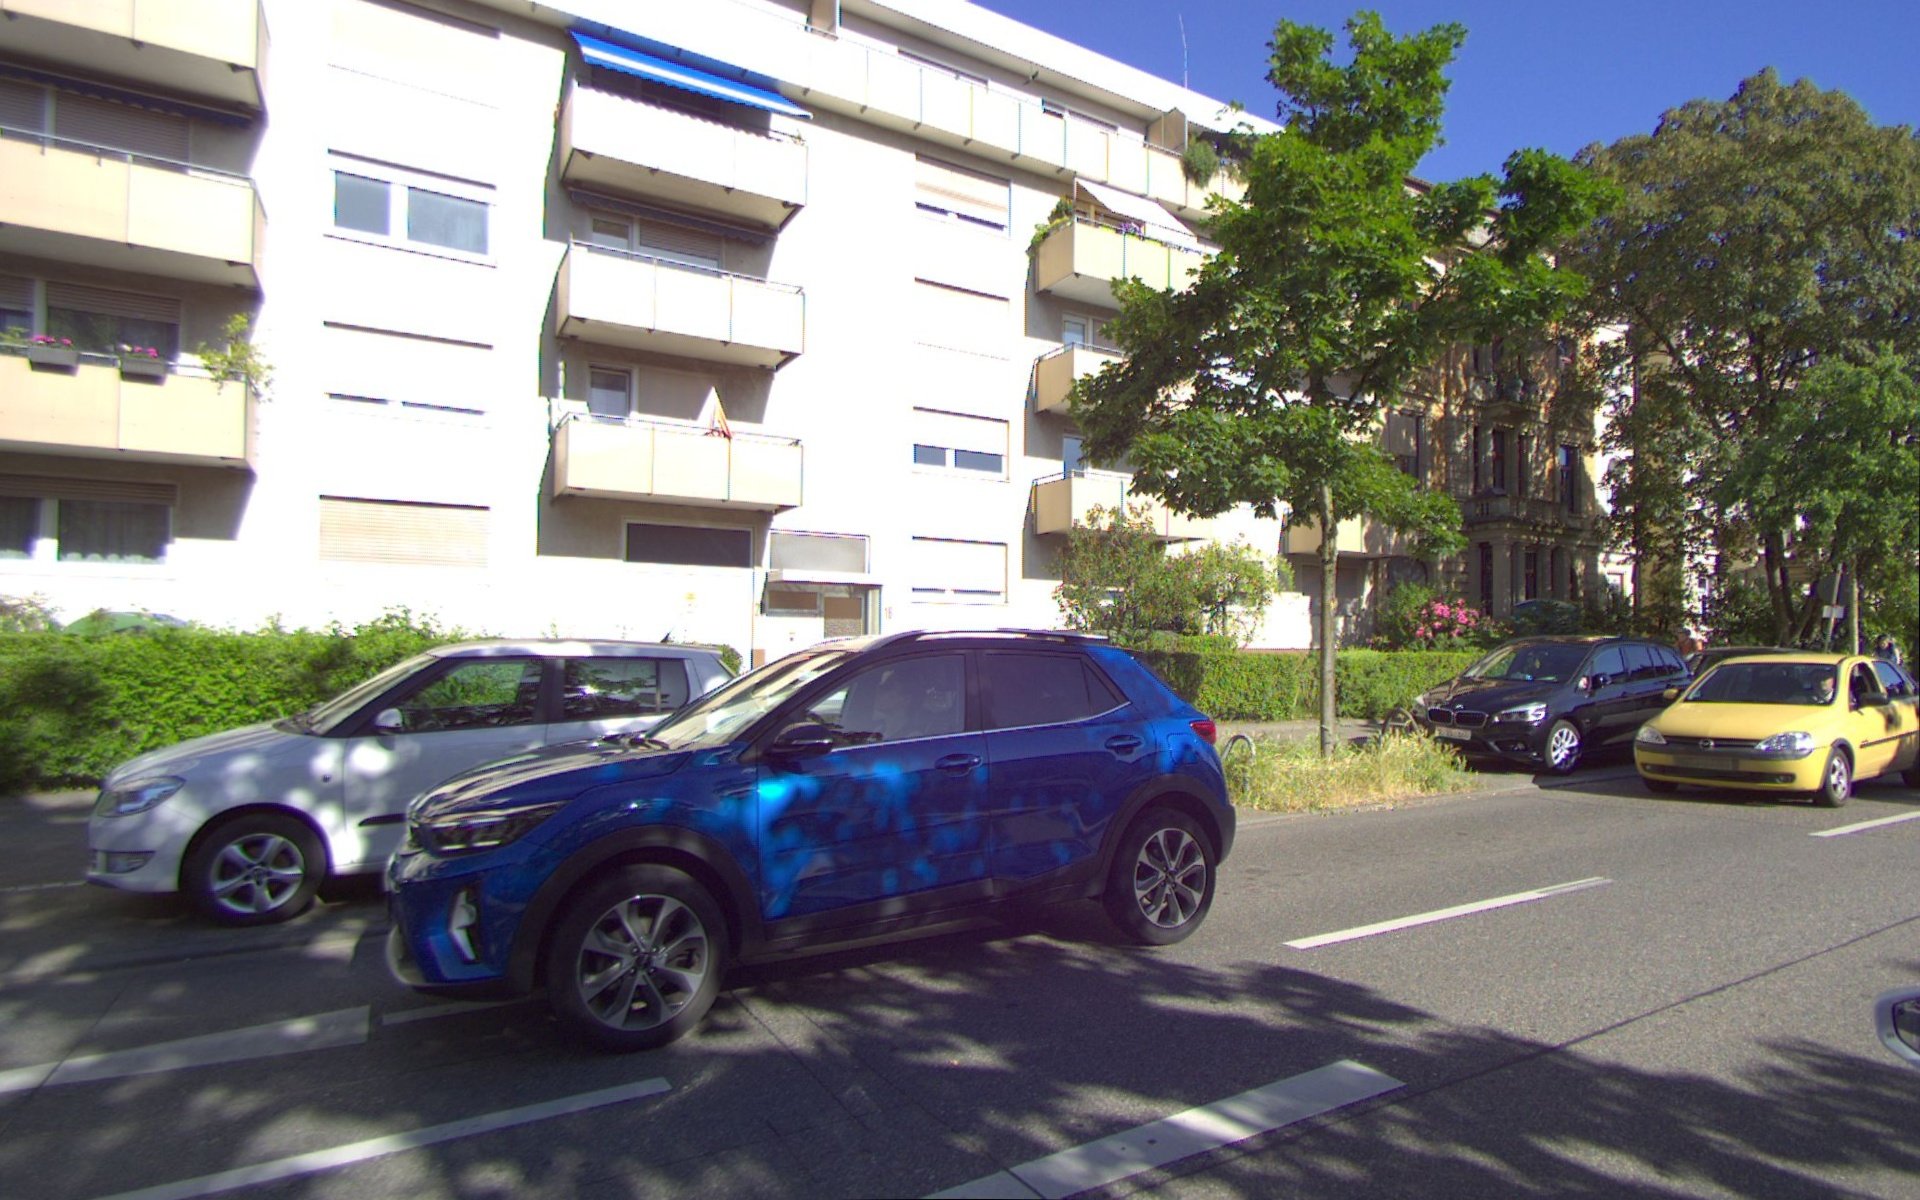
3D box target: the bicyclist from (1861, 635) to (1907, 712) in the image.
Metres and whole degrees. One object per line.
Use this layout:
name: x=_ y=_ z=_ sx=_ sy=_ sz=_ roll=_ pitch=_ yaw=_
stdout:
bicyclist: x=21.804 y=1.713 z=23.699 sx=0.683 sy=1.777 sz=0.606 roll=1 pitch=-2 yaw=-30

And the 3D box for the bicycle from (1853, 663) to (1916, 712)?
bicycle: x=21.793 y=2.049 z=23.666 sx=1.723 sy=1.087 sz=0.606 roll=2 pitch=-2 yaw=-31

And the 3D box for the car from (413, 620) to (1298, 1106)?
car: x=-0.383 y=0.948 z=4.976 sx=4.029 sy=1.536 sz=1.648 roll=2 pitch=-5 yaw=-31

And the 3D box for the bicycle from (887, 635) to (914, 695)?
bicycle: x=-1.160 y=1.250 z=19.657 sx=0.494 sy=1.075 sz=1.559 roll=0 pitch=0 yaw=-3

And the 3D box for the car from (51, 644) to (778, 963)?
car: x=-3.128 y=1.049 z=6.372 sx=3.641 sy=1.509 sz=1.395 roll=1 pitch=-1 yaw=-29

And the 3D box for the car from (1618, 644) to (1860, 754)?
car: x=12.183 y=1.460 z=15.670 sx=3.883 sy=1.496 sz=1.595 roll=2 pitch=-2 yaw=-29

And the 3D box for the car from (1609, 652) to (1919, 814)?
car: x=8.660 y=1.277 z=10.558 sx=3.694 sy=1.421 sz=1.626 roll=2 pitch=-4 yaw=-32

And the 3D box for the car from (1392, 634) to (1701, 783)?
car: x=7.680 y=1.281 z=13.027 sx=4.346 sy=1.626 sz=1.661 roll=2 pitch=-2 yaw=-32
